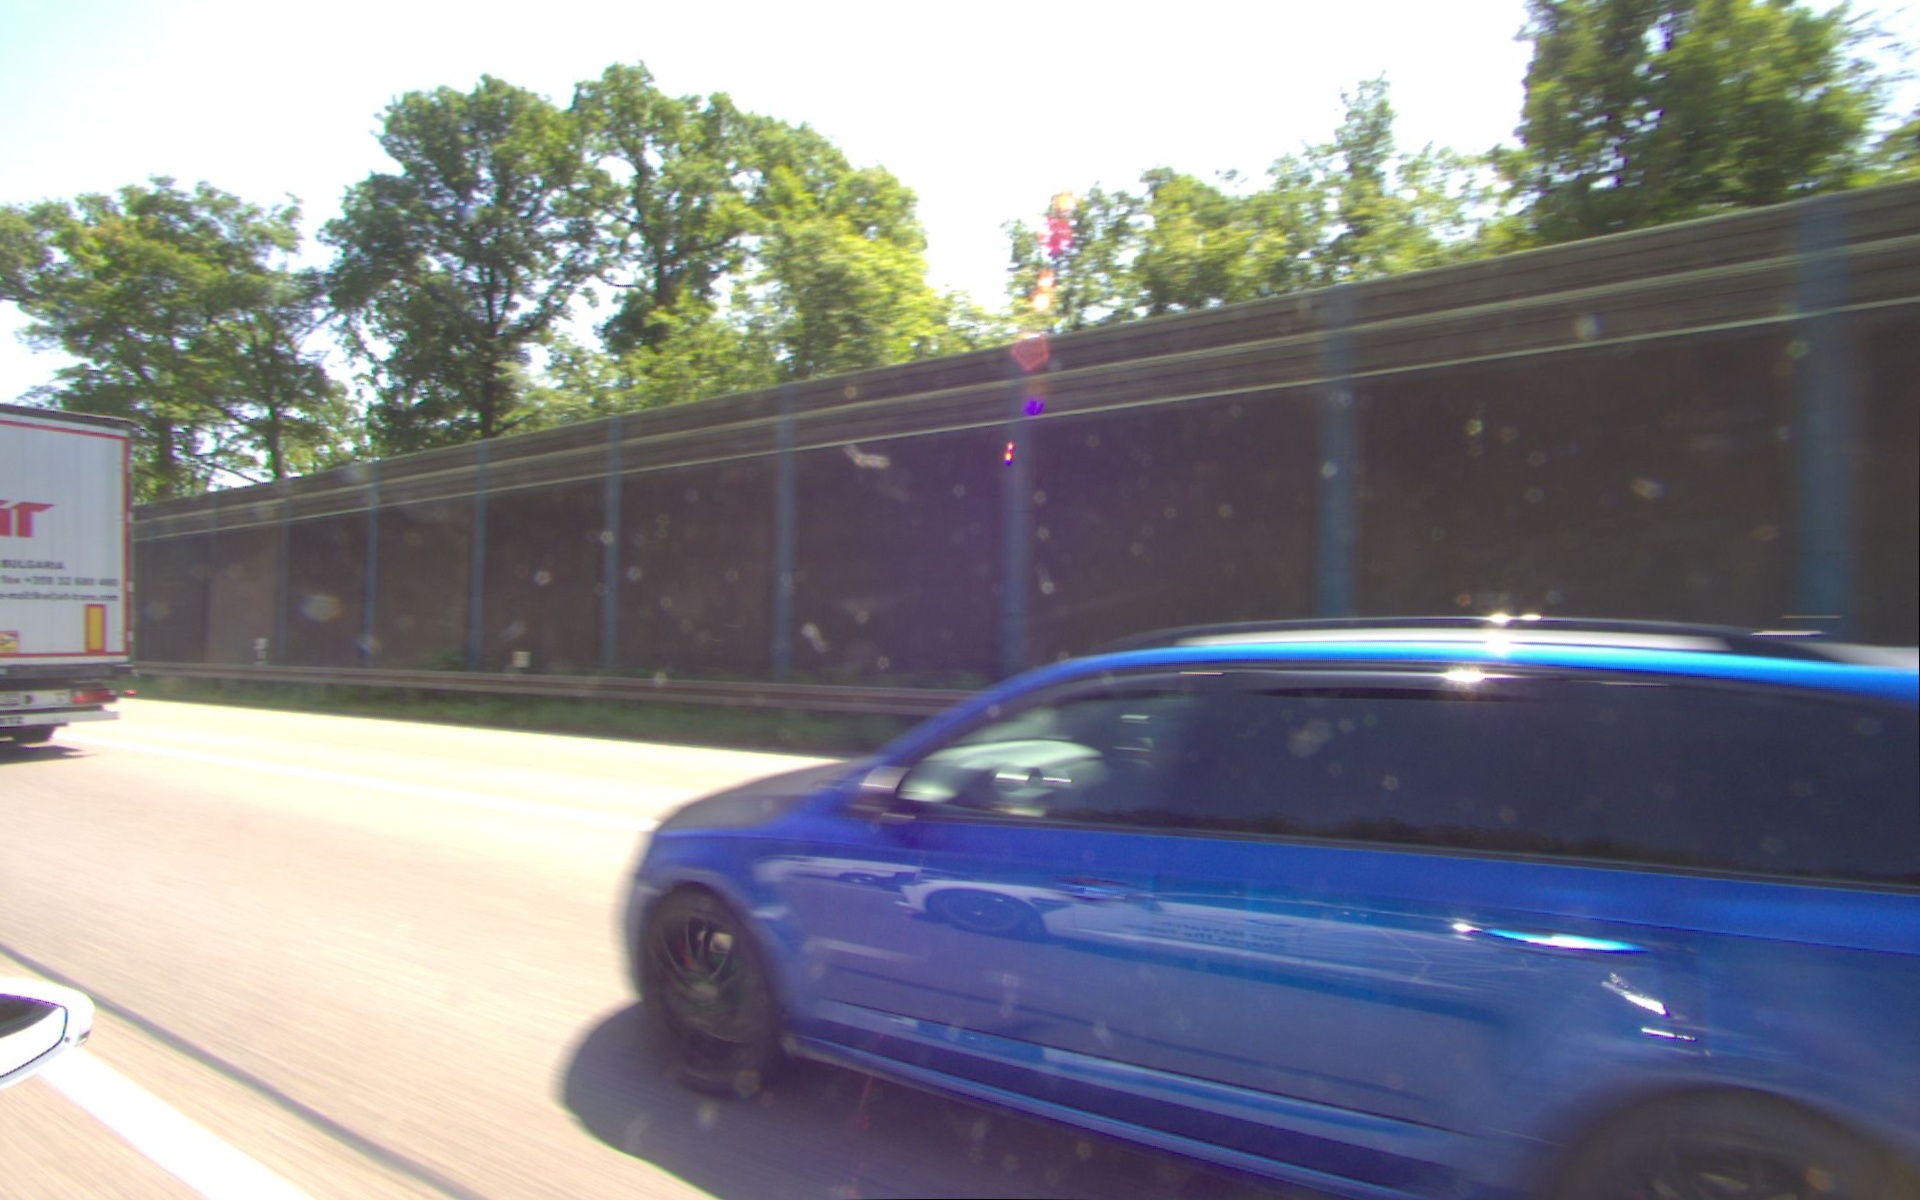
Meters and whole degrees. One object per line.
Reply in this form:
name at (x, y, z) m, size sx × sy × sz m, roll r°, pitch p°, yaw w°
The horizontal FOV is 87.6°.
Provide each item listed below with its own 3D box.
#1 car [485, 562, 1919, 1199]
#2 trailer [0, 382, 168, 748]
car at (0.545, 0.768, 3.192) m, size 4.419 × 1.501 × 1.647 m, roll -2°, pitch -2°, yaw 33°
trailer at (-16.312, -0.260, 15.115) m, size 13.605 × 4.090 × 2.879 m, roll -1°, pitch -1°, yaw 34°
